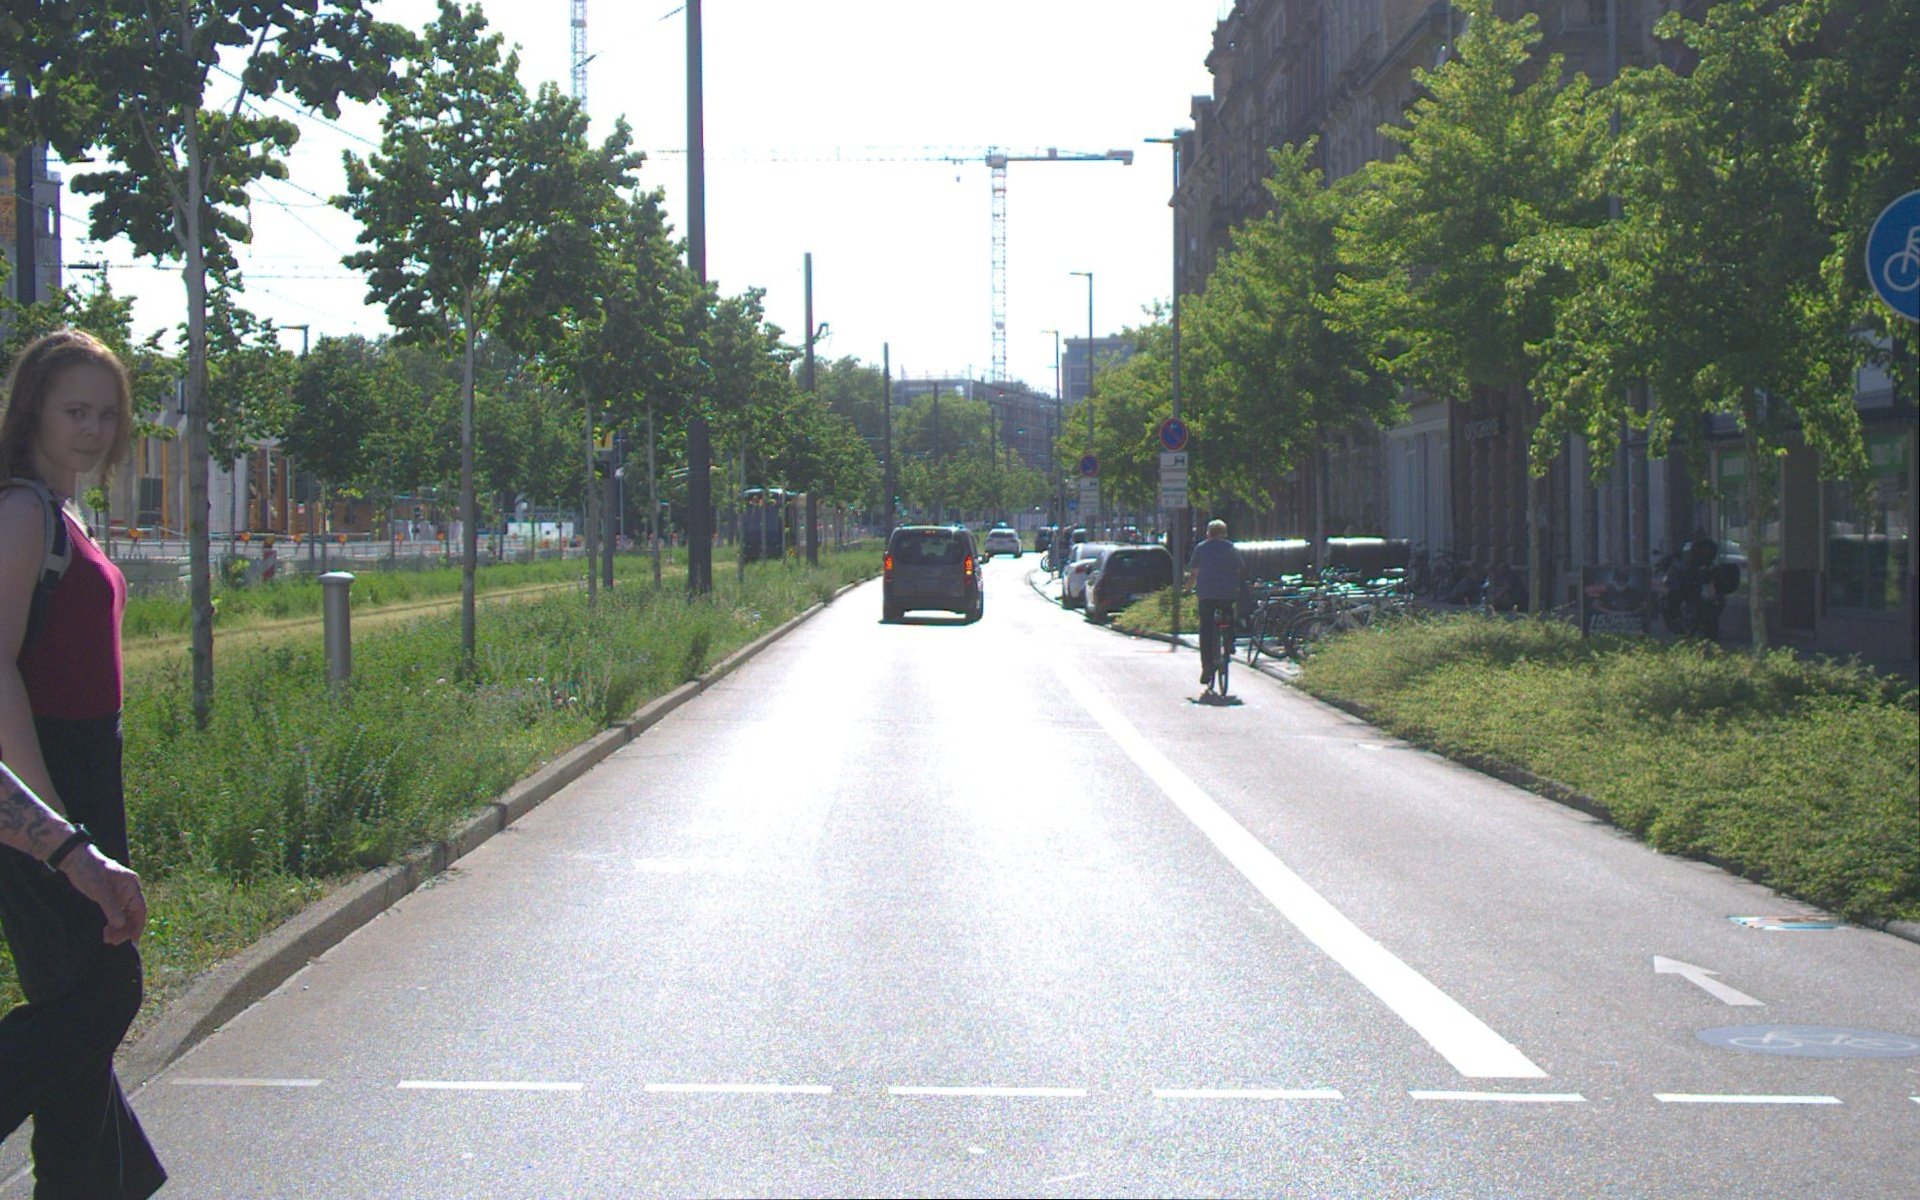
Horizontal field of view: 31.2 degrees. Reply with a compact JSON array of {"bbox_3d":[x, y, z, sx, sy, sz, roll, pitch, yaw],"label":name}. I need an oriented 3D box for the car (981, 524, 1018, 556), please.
[{"bbox_3d":[2.241,-3.386,194.622,1.993,1.723,4.000,1,1,-1],"label":"car"}]

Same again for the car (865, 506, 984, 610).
[{"bbox_3d":[-0.688,-0.825,66.455,2.200,1.919,4.654,-1,1,-1],"label":"car"}]

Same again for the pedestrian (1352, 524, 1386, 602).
[{"bbox_3d":[8.509,-0.769,71.508,0.614,1.606,0.669,-1,1,-1],"label":"pedestrian"}]

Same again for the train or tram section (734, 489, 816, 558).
[{"bbox_3d":[-7.662,-3.142,143.534,2.756,2.733,9.864,1,1,0],"label":"train or tram section"}]

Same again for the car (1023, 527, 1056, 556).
[{"bbox_3d":[5.237,-3.813,225.723,1.993,1.831,4.000,1,1,-1],"label":"car"}]

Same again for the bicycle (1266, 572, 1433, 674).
[{"bbox_3d":[4.479,0.259,39.595,1.792,1.027,0.527,-5,1,0],"label":"bicycle"}]

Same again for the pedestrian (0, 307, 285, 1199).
[{"bbox_3d":[-1.910,0.397,6.767,1.075,1.902,0.653,-1,1,-7],"label":"pedestrian"}]

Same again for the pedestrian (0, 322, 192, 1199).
[{"bbox_3d":[-1.528,0.542,4.615,0.865,1.782,0.971,1,1,-7],"label":"pedestrian"}]

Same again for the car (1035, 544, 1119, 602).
[{"bbox_3d":[3.117,-0.747,92.306,2.028,1.493,4.530,-1,1,-1],"label":"car"}]

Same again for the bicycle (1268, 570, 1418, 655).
[{"bbox_3d":[4.730,0.153,42.477,1.792,1.027,0.527,0,1,0],"label":"bicycle"}]

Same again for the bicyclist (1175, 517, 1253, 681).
[{"bbox_3d":[2.637,-0.023,35.767,0.684,1.667,0.922,2,1,-1],"label":"bicyclist"}]

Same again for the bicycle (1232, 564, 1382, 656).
[{"bbox_3d":[4.427,0.121,43.900,1.792,1.027,0.527,-5,1,0],"label":"bicycle"}]

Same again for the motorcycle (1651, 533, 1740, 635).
[{"bbox_3d":[9.435,-0.215,44.161,0.700,1.263,1.982,-1,1,-1],"label":"motorcycle"}]

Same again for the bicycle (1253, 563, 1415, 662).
[{"bbox_3d":[4.451,0.148,40.967,1.792,1.027,0.527,-5,1,0],"label":"bicycle"}]

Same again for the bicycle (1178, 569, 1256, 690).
[{"bbox_3d":[2.649,0.293,35.602,0.601,1.177,1.869,2,1,-1],"label":"bicycle"}]

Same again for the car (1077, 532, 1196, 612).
[{"bbox_3d":[3.422,-0.571,67.442,2.028,1.493,4.654,-1,1,-1],"label":"car"}]

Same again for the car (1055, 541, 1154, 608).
[{"bbox_3d":[3.326,-0.609,79.777,2.028,1.493,4.530,-1,1,-1],"label":"car"}]

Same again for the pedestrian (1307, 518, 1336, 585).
[{"bbox_3d":[8.678,-1.173,82.617,0.614,1.606,0.669,-1,1,-1],"label":"pedestrian"}]
